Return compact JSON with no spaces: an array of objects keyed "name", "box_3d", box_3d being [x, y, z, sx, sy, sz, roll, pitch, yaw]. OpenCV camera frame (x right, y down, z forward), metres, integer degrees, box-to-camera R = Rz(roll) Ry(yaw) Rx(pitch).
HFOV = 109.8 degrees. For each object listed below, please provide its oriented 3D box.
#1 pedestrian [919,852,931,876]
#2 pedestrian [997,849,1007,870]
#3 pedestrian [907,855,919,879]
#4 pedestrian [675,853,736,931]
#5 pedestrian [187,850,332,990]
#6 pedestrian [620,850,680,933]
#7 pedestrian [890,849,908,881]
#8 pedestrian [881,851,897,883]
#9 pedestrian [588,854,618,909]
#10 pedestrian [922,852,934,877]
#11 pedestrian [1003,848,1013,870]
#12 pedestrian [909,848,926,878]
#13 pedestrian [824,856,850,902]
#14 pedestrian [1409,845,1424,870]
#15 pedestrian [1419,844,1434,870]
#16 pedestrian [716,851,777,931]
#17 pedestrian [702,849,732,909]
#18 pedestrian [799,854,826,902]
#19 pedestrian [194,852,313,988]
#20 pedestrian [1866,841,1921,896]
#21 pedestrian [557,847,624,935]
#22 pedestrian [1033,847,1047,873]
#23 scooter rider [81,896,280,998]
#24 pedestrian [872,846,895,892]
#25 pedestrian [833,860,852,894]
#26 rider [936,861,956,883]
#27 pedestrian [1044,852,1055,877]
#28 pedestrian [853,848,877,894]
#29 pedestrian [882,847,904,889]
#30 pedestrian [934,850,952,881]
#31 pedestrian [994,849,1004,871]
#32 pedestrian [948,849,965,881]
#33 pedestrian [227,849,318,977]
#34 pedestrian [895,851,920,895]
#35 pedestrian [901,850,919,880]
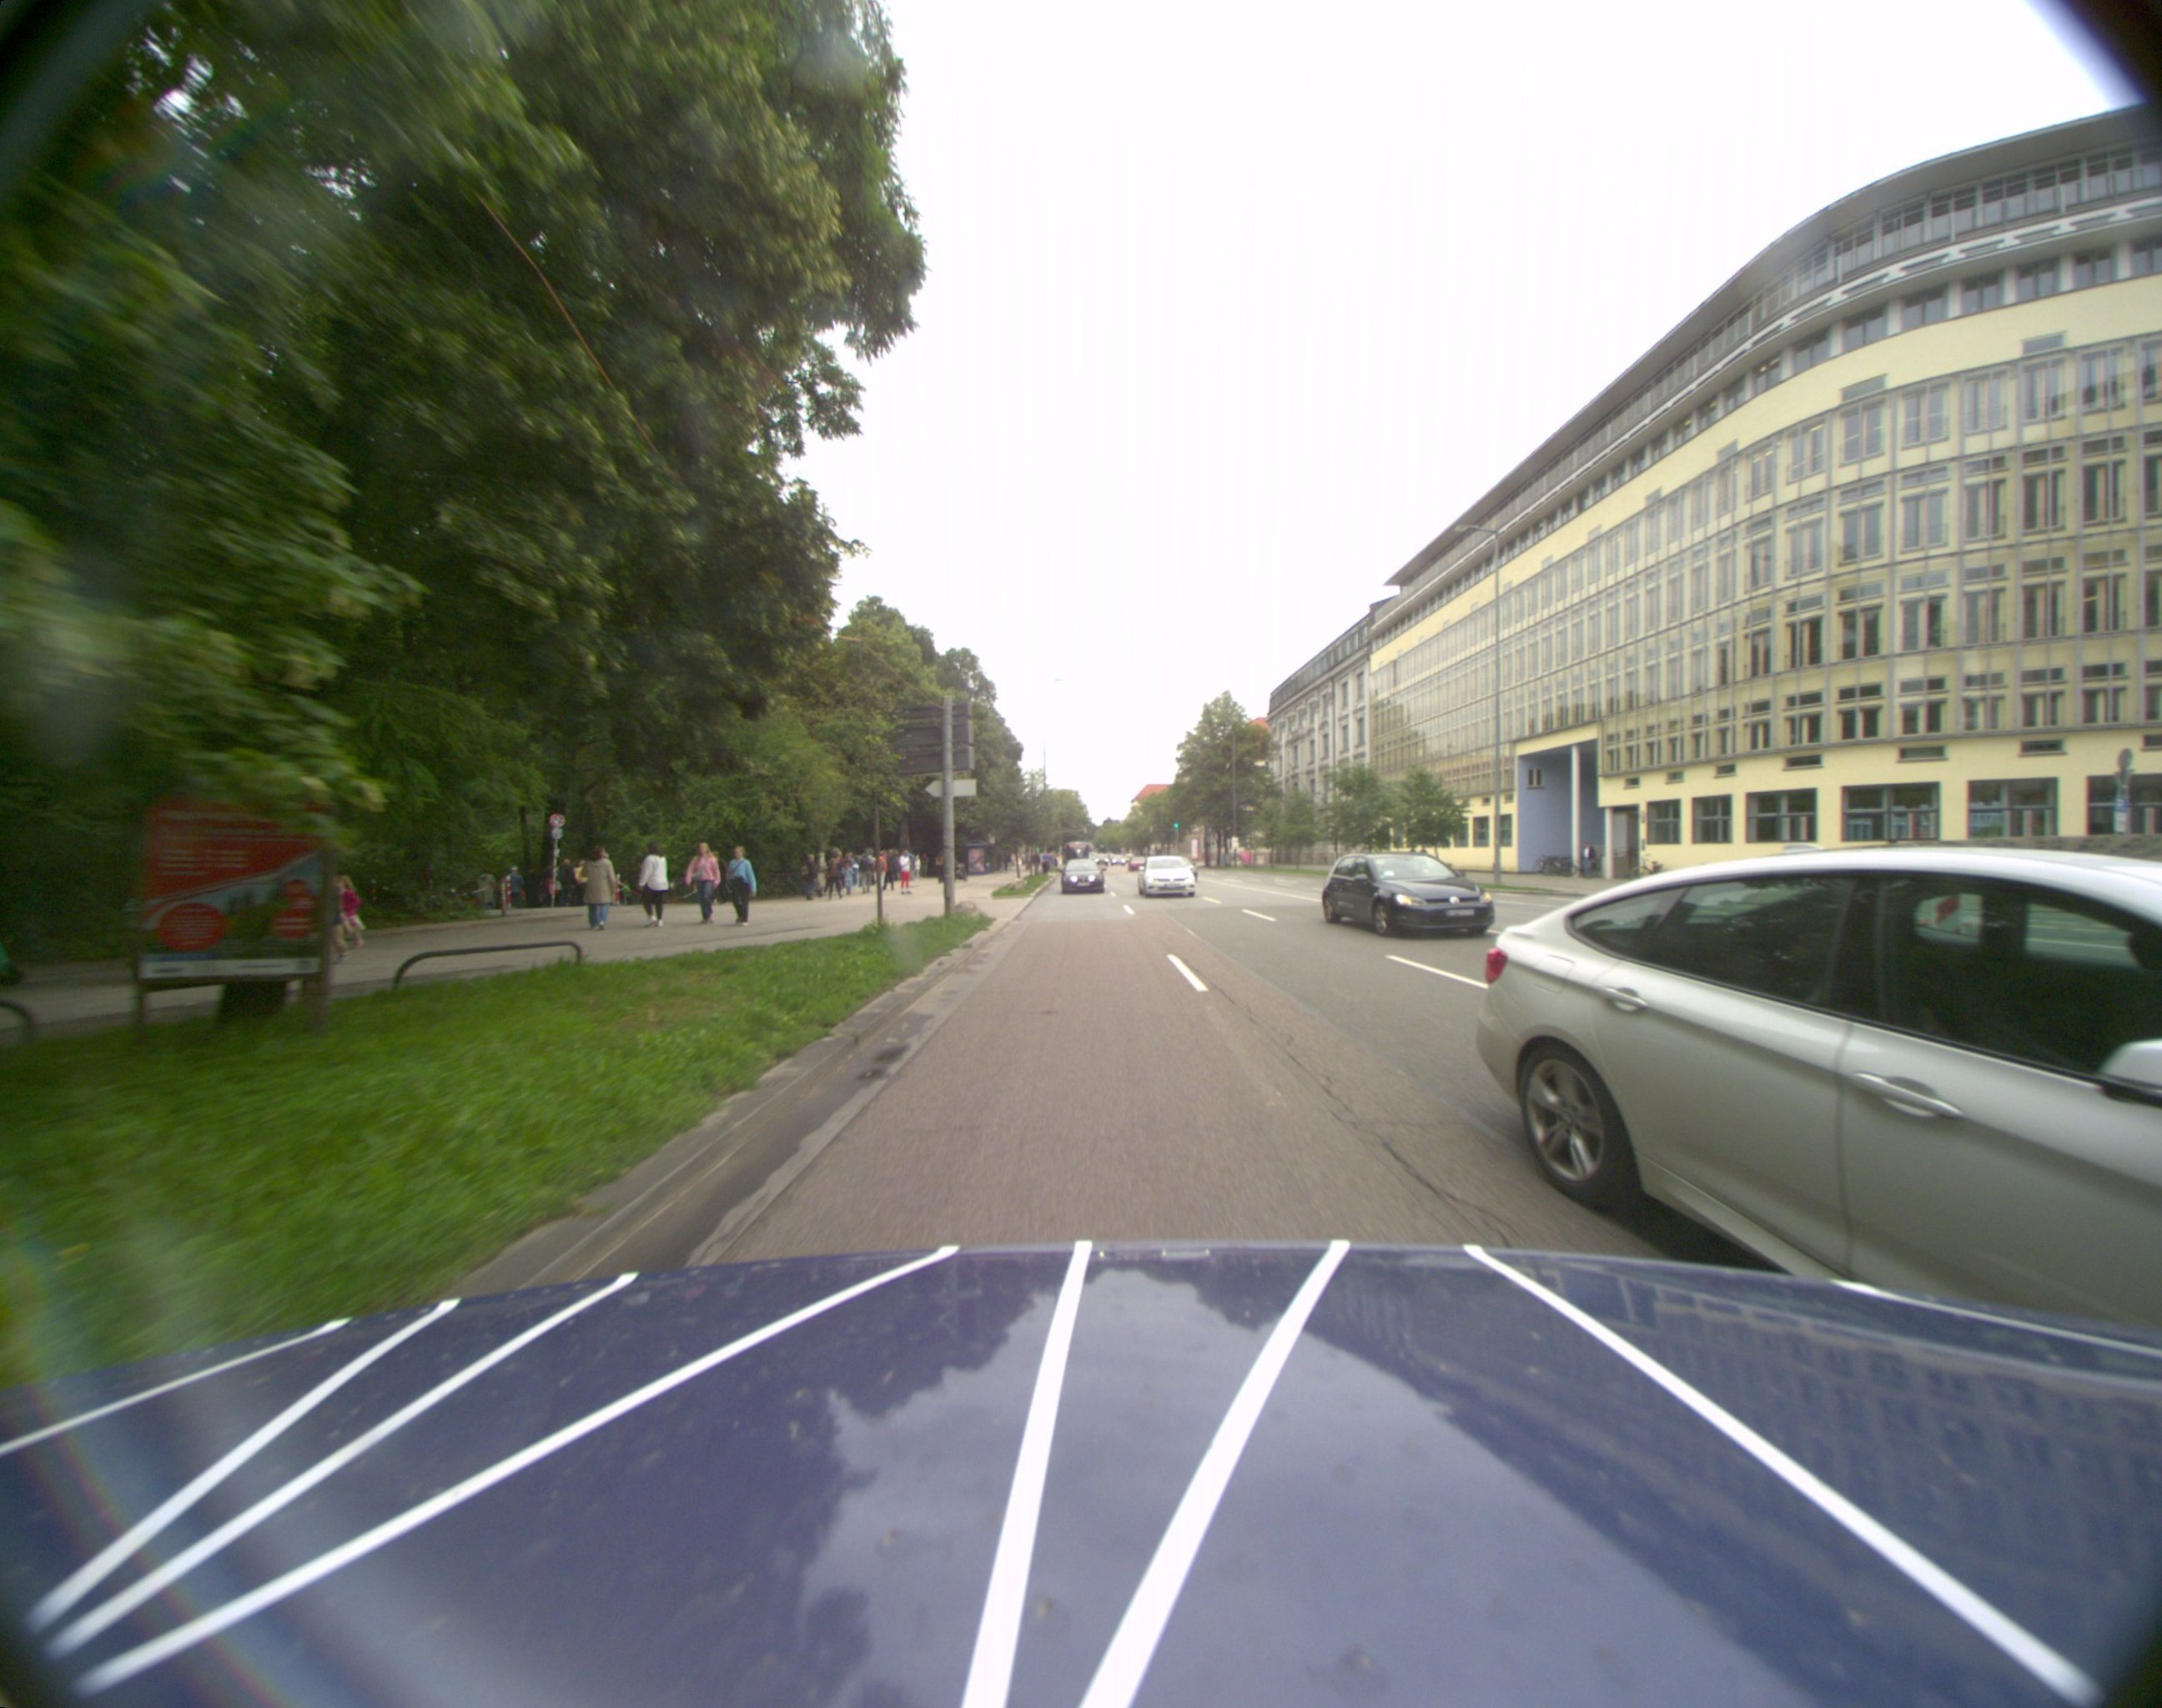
[{"name":"pedestrian","box_3d":[-10.679,0.670,51.881,0.637,1.617,0.533,-2,1,2]},{"name":"pedestrian","box_3d":[-7.104,0.488,68.585,0.710,1.798,0.950,-2,1,0]},{"name":"pedestrian","box_3d":[-10.851,0.832,49.076,0.637,1.498,0.533,-2,1,2]},{"name":"pedestrian","box_3d":[-8.111,0.810,16.442,0.755,1.634,0.850,-2,1,15]},{"name":"pedestrian","box_3d":[-9.663,0.738,8.976,0.682,1.557,0.872,-2,1,1]},{"name":"pedestrian","box_3d":[-8.765,0.756,15.464,0.755,1.634,0.651,-2,1,15]},{"name":"pedestrian","box_3d":[-10.660,0.613,44.573,0.814,1.841,0.729,-2,1,2]},{"name":"pedestrian","box_3d":[-10.195,0.677,40.335,0.593,1.681,0.729,-2,1,2]},{"name":"pedestrian","box_3d":[-15.190,0.867,24.147,0.694,1.686,0.610,-3,1,-35]},{"name":"pedestrian","box_3d":[-10.580,0.722,52.592,0.637,1.757,0.533,-2,1,2]},{"name":"pedestrian","box_3d":[-6.491,0.425,67.340,0.710,1.904,0.956,-2,1,0]},{"name":"pedestrian","box_3d":[-10.082,0.558,46.899,0.814,1.818,0.729,-2,1,2]},{"name":"pedestrian","box_3d":[-8.653,0.875,26.951,0.694,1.568,0.610,-3,1,-35]},{"name":"pedestrian","box_3d":[23.249,0.241,52.713,0.617,1.766,0.836,-2,1,0]},{"name":"pedestrian","box_3d":[23.960,0.198,52.727,0.617,1.766,0.836,-2,1,0]},{"name":"pedestrian","box_3d":[-7.087,0.776,16.135,0.755,1.634,0.850,-2,1,15]},{"name":"pedestrian","box_3d":[-11.624,0.800,24.280,0.694,1.862,0.610,-3,1,-35]},{"name":"pedestrian","box_3d":[-9.474,0.823,26.810,0.694,1.642,0.610,-3,1,-33]},{"name":"pedestrian","box_3d":[-9.523,0.737,8.768,0.682,1.506,0.562,-2,1,1]},{"name":"pedestrian","box_3d":[26.161,0.463,24.474,0.992,1.723,0.816,-2,1,31]},{"name":"pedestrian","box_3d":[-9.488,0.705,14.719,0.755,1.634,0.691,-2,1,15]},{"name":"pedestrian","box_3d":[-3.013,0.460,55.322,0.804,1.870,0.545,-1,1,36]},{"name":"scooter rider","box_3d":[-9.992,0.999,8.497,0.857,0.979,1.114,-2,0,0]},{"name":"pedestrian","box_3d":[-8.288,0.610,31.876,0.610,1.903,0.694,-2,1,17]},{"name":"pedestrian","box_3d":[-9.572,0.905,30.544,0.459,1.319,0.648,-2,1,5]},{"name":"rider","box_3d":[-7.430,0.985,41.838,0.766,1.106,1.244,-2,1,5]},{"name":"pedestrian","box_3d":[-2.356,0.789,56.934,0.710,1.798,0.639,-2,1,0]},{"name":"pedestrian","box_3d":[-8.879,0.687,31.276,0.610,1.862,0.694,-2,1,17]},{"name":"pedestrian","box_3d":[-8.440,0.617,34.080,0.610,1.862,0.694,-2,1,17]},{"name":"pedestrian","box_3d":[-7.538,0.625,41.487,0.728,1.681,0.648,-2,1,5]},{"name":"pedestrian","box_3d":[-7.335,0.510,67.960,0.710,1.904,0.956,-2,1,0]},{"name":"pedestrian","box_3d":[-6.791,0.588,41.437,0.728,1.681,0.648,-2,1,5]},{"name":"pedestrian","box_3d":[-10.187,0.730,9.588,0.485,1.557,0.573,-2,1,15]},{"name":"pedestrian","box_3d":[-6.814,0.746,29.931,0.728,1.681,0.648,-2,1,5]},{"name":"pedestrian","box_3d":[-10.373,0.672,46.063,0.814,1.757,0.729,-2,1,2]}]
